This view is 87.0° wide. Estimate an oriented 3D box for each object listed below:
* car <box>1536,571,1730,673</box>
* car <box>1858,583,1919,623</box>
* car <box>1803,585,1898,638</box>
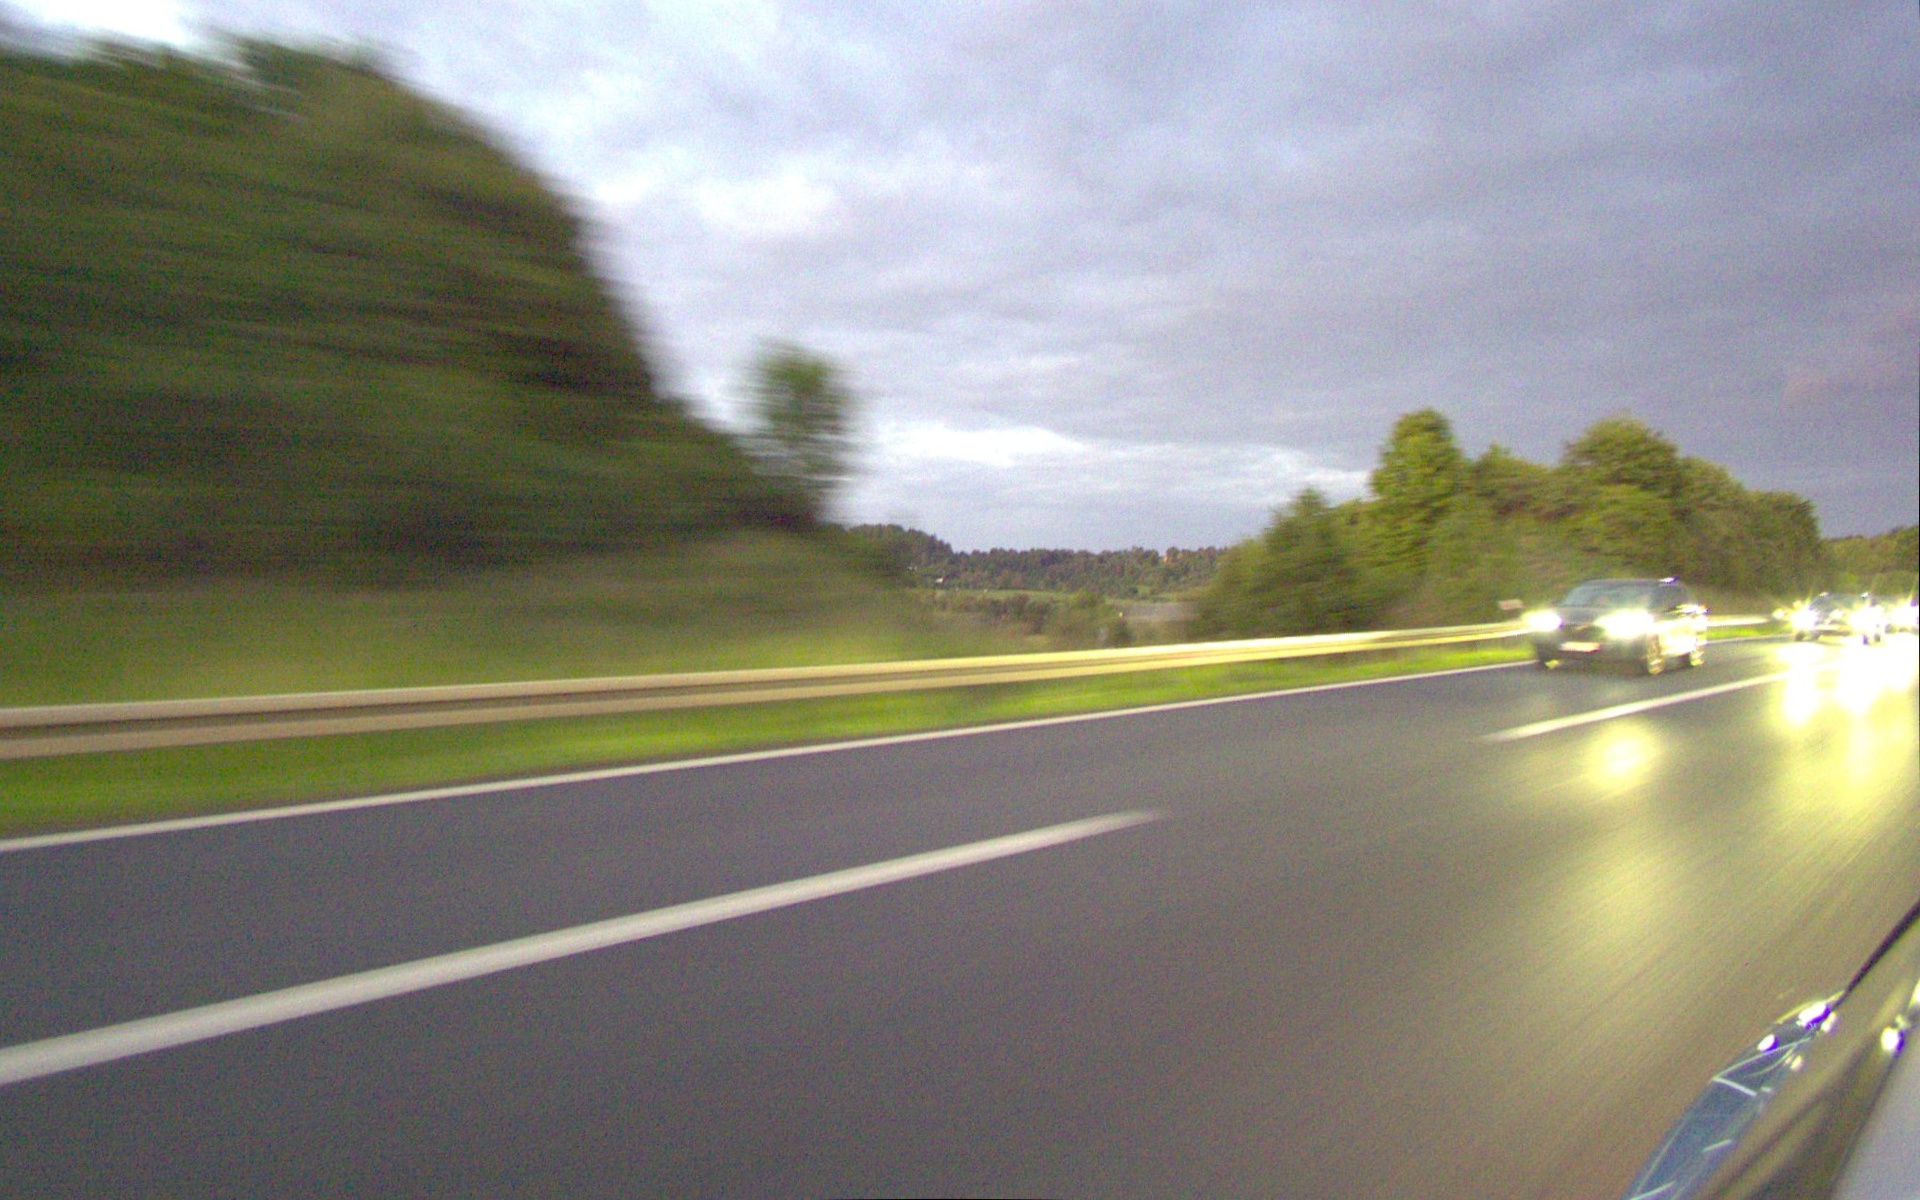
[{"bbox_3d":[12.667,0.317,18.903,5.072,1.666,1.801,-1,1,-42],"label":"car"},{"bbox_3d":[37.935,0.111,41.114,4.362,1.511,1.799,-1,-2,-44],"label":"car"},{"bbox_3d":[27.490,0.302,31.173,5.032,1.510,1.799,-1,0,-44],"label":"car"}]
